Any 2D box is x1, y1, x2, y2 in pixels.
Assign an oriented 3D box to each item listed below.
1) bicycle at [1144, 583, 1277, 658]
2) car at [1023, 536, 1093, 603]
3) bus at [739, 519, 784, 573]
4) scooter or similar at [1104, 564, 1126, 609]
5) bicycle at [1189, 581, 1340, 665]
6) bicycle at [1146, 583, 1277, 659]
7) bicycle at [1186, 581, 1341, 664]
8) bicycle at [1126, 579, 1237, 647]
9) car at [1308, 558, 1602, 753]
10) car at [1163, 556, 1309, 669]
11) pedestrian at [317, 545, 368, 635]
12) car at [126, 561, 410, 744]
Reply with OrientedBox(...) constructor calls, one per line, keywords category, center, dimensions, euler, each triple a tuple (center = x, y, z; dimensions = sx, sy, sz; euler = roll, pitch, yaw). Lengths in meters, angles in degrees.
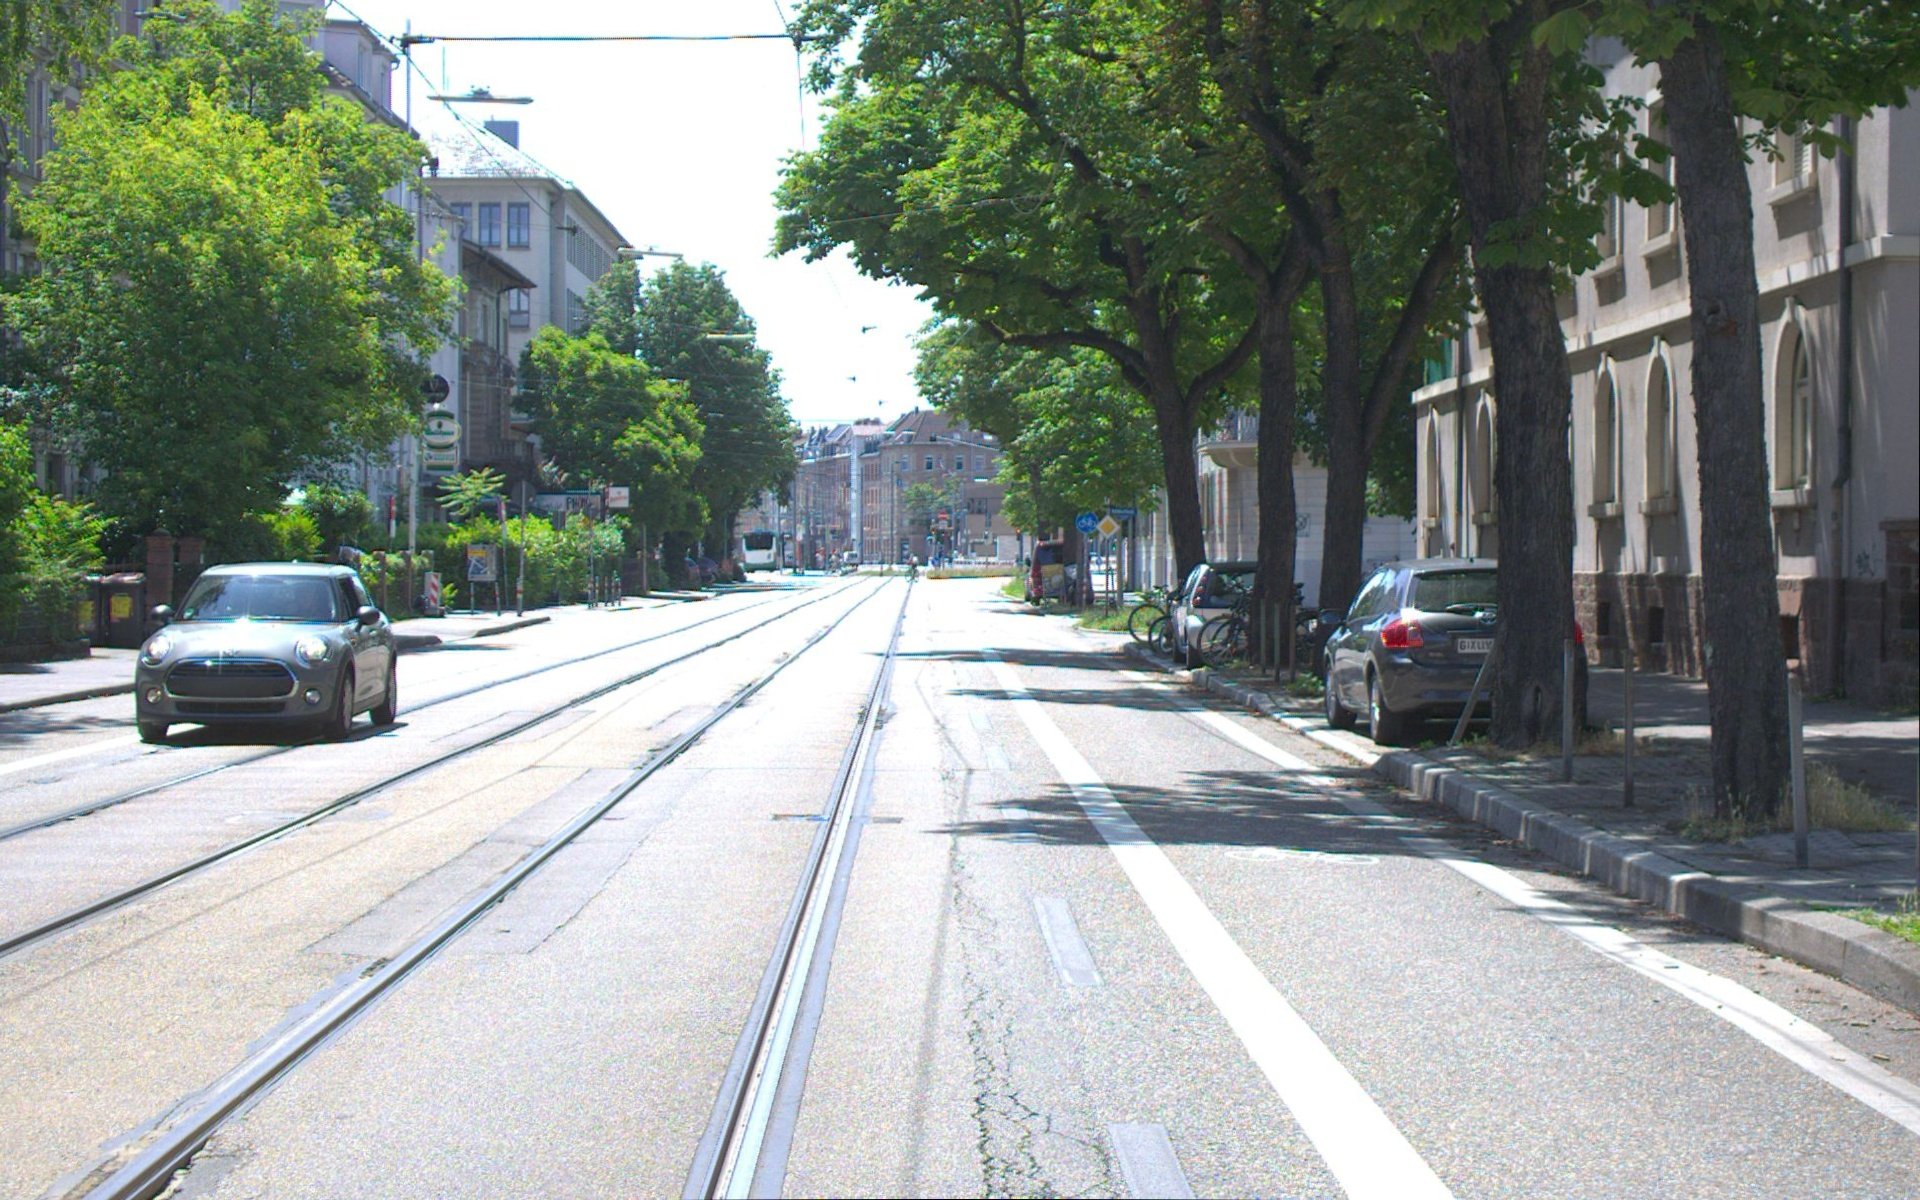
OrientedBox(category="bicycle", center=(3.871, 0.315, 53.292), dimensions=(2.010, 1.109, 0.640), euler=(-1, -1, 2))
OrientedBox(category="car", center=(3.015, -0.969, 106.906), dimensions=(1.993, 2.028, 4.697), euler=(0, 1, -1))
OrientedBox(category="bus", center=(-15.269, -4.108, 265.036), dimensions=(2.931, 3.923, 11.275), euler=(2, 0, -1))
OrientedBox(category="scooter or similar", center=(4.269, -0.368, 94.691), dimensions=(0.501, 1.225, 1.573), euler=(0, 1, -1))
OrientedBox(category="bicycle", center=(3.873, 0.291, 43.684), dimensions=(1.890, 1.048, 0.538), euler=(0, 0, 7))
OrientedBox(category="bicycle", center=(3.853, 0.322, 52.691), dimensions=(1.963, 1.109, 0.598), euler=(-1, -1, 2))
OrientedBox(category="bicycle", center=(3.895, 0.286, 44.119), dimensions=(1.963, 1.059, 0.598), euler=(0, 0, 7))
OrientedBox(category="bicycle", center=(3.722, 0.220, 57.789), dimensions=(1.816, 1.109, 0.493), euler=(-1, -1, -1))
OrientedBox(category="car", center=(4.191, 0.418, 29.744), dimensions=(1.774, 1.496, 4.306), euler=(-1, 1, -2))
OrientedBox(category="car", center=(3.827, 0.154, 48.132), dimensions=(1.621, 1.443, 3.810), euler=(-3, 0, -1))
OrientedBox(category="pedestrian", center=(-11.230, -0.180, 62.567), dimensions=(0.751, 1.623, 0.833), euler=(0, 0, 2))
OrientedBox(category="car", center=(-5.820, 0.398, 29.291), dimensions=(1.686, 1.449, 3.748), euler=(0, 1, 0))
